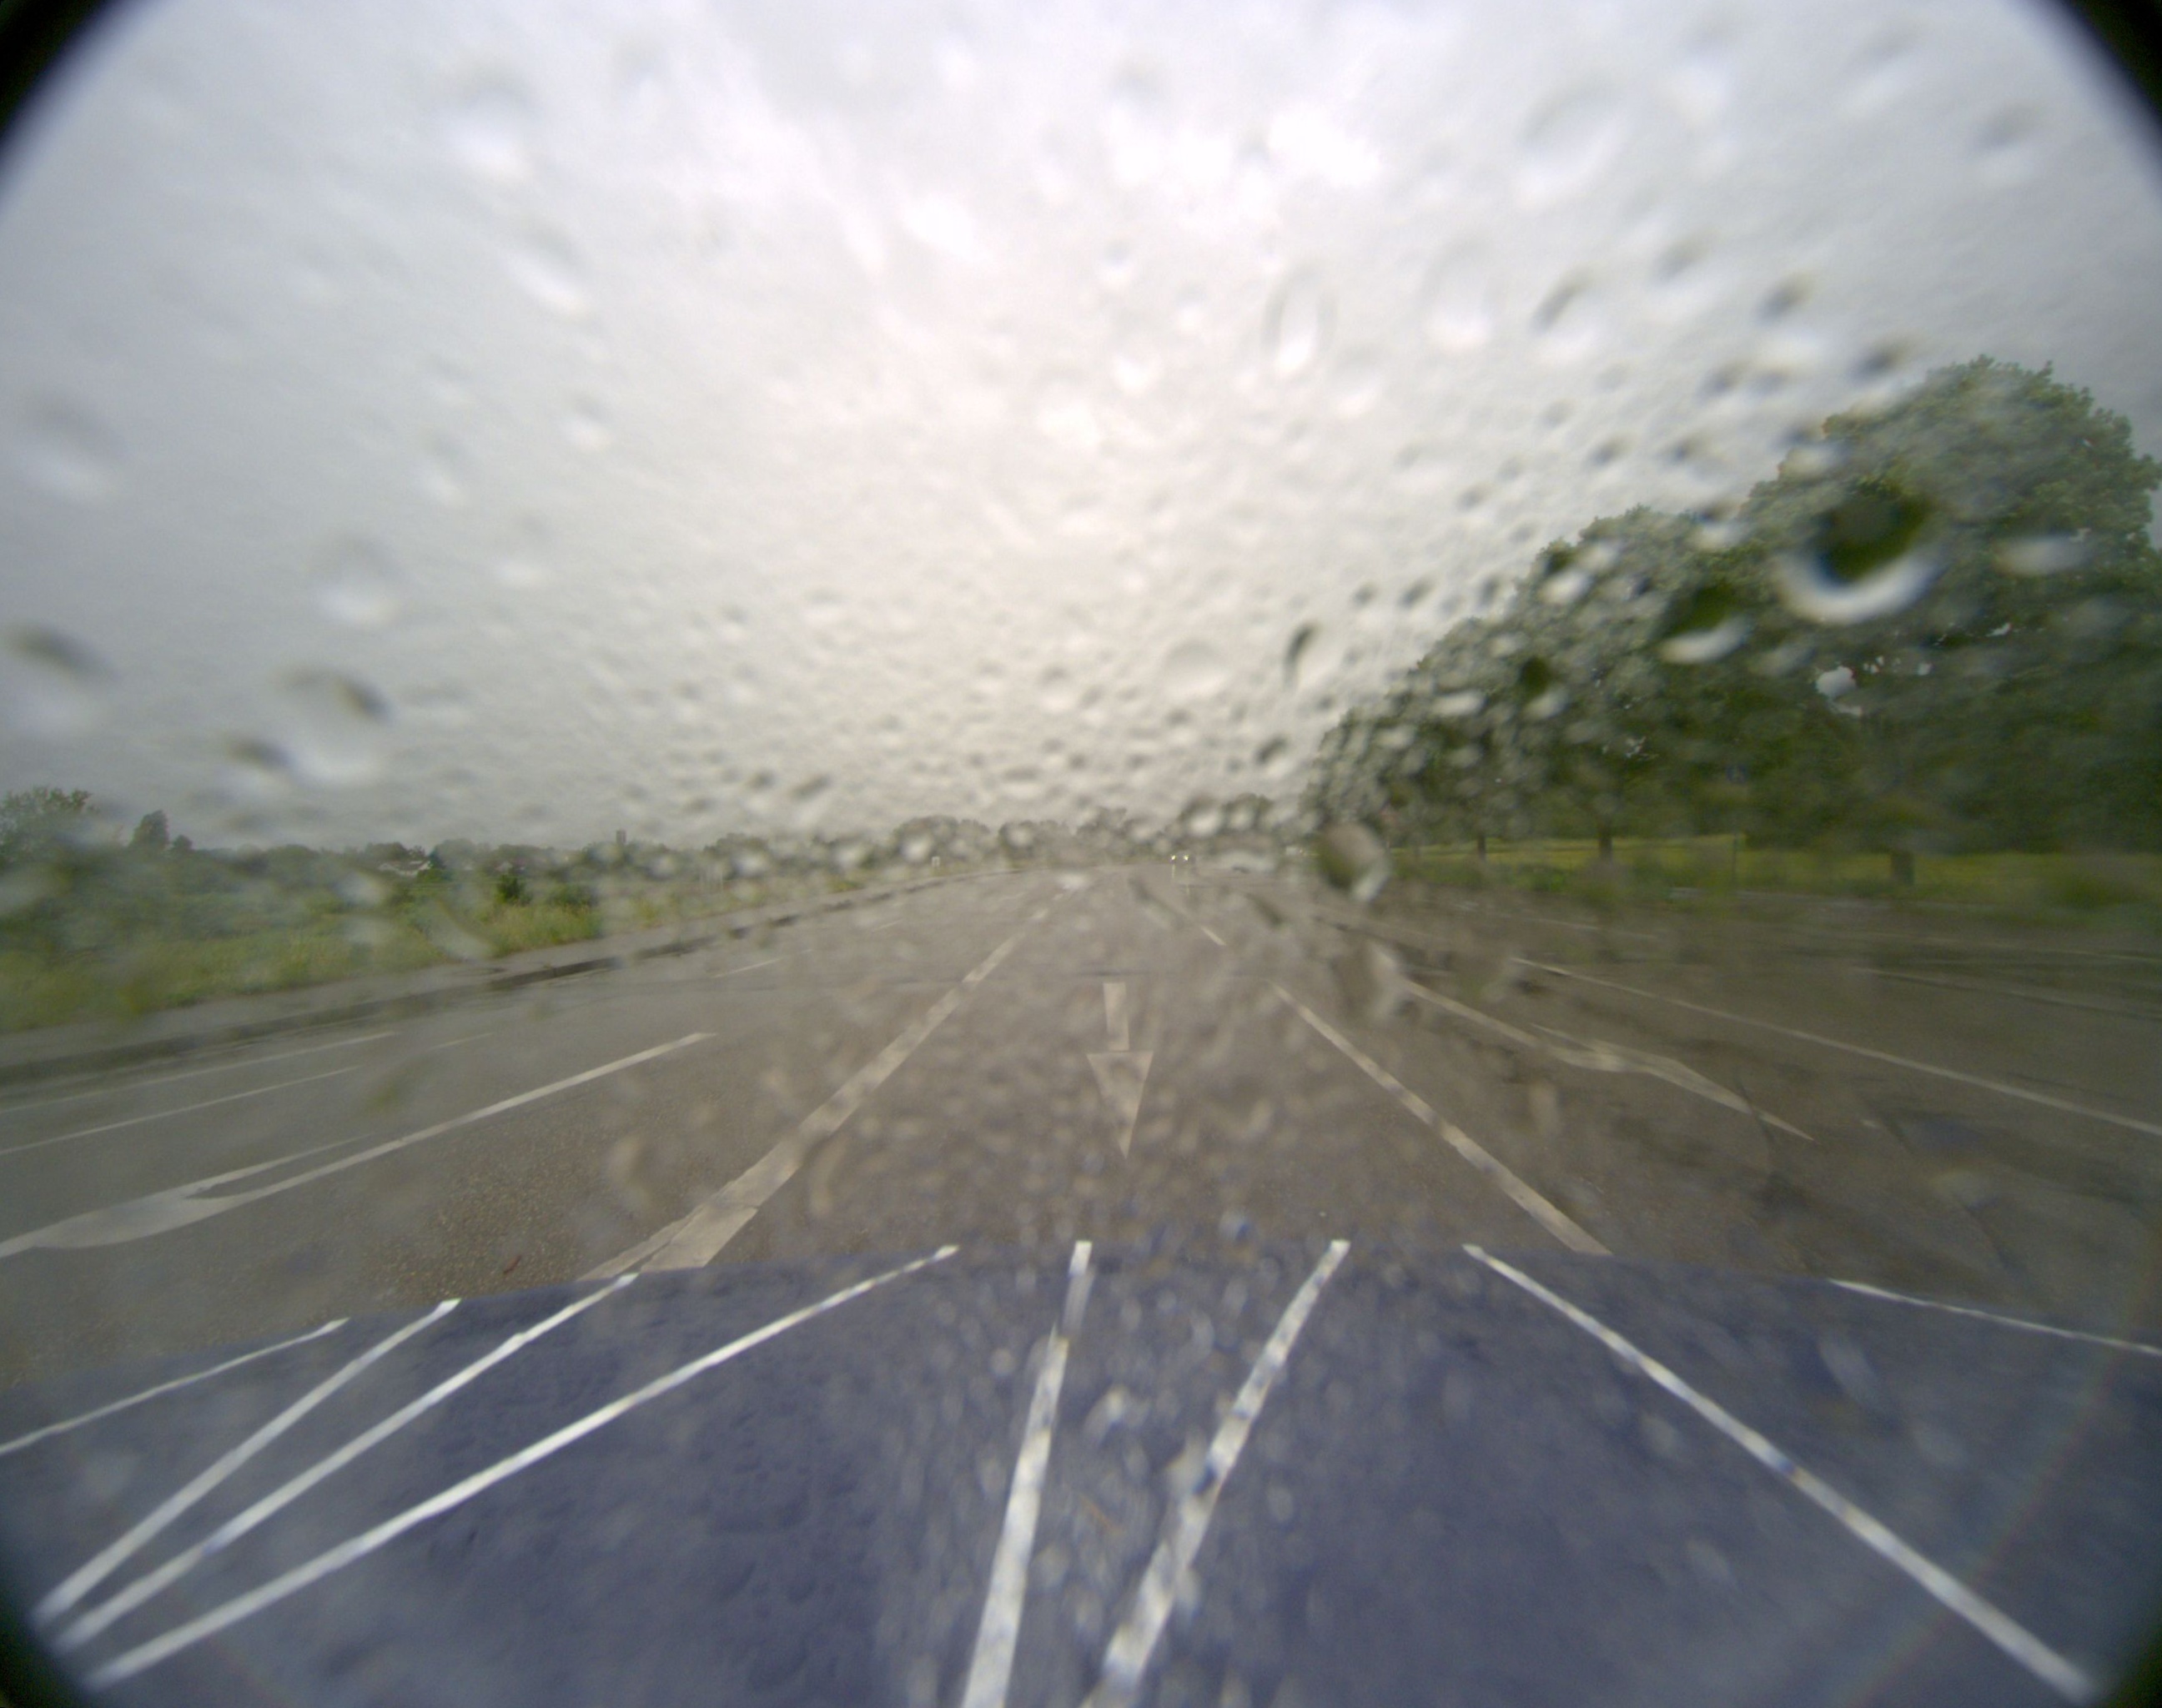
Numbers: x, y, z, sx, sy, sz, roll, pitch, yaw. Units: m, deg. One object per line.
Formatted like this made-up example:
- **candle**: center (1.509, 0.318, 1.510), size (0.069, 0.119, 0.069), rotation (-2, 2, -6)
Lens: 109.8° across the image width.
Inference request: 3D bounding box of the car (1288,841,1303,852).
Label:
- **car**: center (39.356, -1.339, 139.202), size (2.108, 1.881, 4.797), rotation (-1, 1, 22)

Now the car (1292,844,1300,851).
- **car**: center (53.149, -1.529, 187.899), size (1.914, 1.678, 4.107), rotation (-1, 1, 16)

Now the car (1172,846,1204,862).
- **car**: center (11.667, -0.004, 82.635), size (1.912, 1.576, 4.110), rotation (-1, 1, 32)
